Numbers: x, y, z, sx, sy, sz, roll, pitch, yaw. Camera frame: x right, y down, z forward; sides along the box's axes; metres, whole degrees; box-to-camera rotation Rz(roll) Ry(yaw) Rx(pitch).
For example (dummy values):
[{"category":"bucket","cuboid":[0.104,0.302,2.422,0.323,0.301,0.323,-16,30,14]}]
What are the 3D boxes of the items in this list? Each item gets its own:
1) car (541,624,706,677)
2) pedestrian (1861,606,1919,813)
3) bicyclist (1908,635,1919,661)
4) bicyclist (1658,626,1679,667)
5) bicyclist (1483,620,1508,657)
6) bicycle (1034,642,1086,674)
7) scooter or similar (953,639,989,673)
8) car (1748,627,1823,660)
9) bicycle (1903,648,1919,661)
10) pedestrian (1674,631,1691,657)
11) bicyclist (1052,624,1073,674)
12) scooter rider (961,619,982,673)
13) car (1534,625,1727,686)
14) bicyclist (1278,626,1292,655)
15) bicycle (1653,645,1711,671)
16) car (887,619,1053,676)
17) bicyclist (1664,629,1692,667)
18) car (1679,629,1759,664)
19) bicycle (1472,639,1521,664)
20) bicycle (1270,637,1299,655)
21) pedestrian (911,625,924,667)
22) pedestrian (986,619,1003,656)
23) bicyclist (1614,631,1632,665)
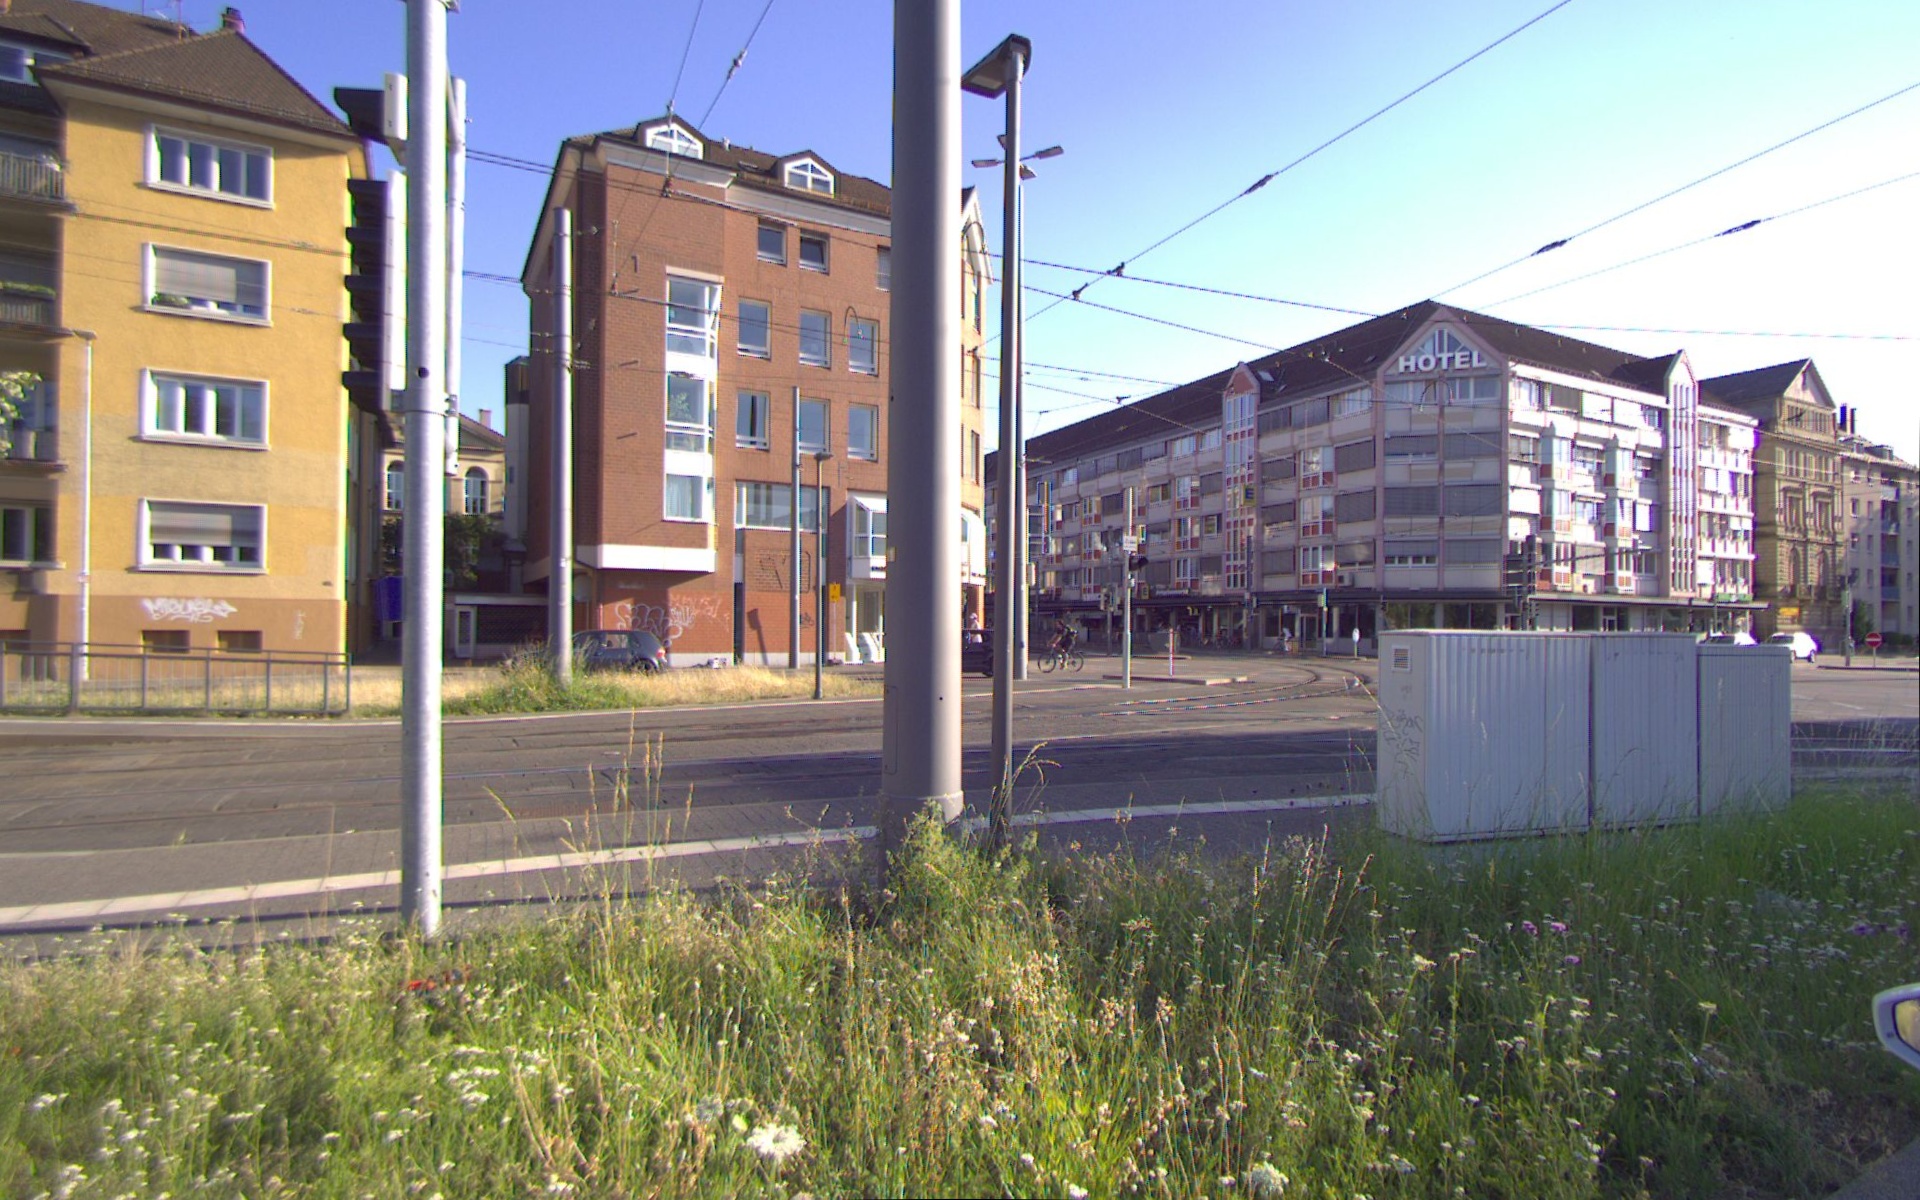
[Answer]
[{"category":"car","cuboid":[-8.877,1.312,26.513,3.946,1.305,1.836,1,-2,-25]},{"category":"pedestrian","cuboid":[7.852,0.862,7.976,0.647,1.618,0.874,1,-2,-30]},{"category":"bicyclist","cuboid":[70.669,3.523,74.336,0.634,1.886,0.590,1,-2,-28]},{"category":"bicyclist","cuboid":[36.358,2.381,51.529,0.764,2.040,0.604,0,-1,21]},{"category":"bicyclist","cuboid":[26.382,1.887,49.508,0.648,1.776,0.893,1,-2,-33]},{"category":"bicycle","cuboid":[3.504,2.029,35.184,1.748,1.086,0.535,1,-1,-6]},{"category":"scooter or similar","cuboid":[0.349,1.815,32.561,1.152,1.086,0.530,0,-1,-2]},{"category":"car","cuboid":[48.341,2.517,58.806,3.949,1.884,1.986,1,-2,-28]},{"category":"bicycle","cuboid":[70.529,4.002,74.256,1.813,0.927,0.596,1,-2,-28]},{"category":"pedestrian","cuboid":[45.340,2.753,63.003,0.695,1.626,0.623,1,-1,-28]},{"category":"bicyclist","cuboid":[3.585,1.702,35.203,0.653,1.734,0.538,0,-1,-4]},{"category":"scooter rider","cuboid":[0.383,1.482,32.567,0.653,1.734,0.526,0,-1,-2]},{"category":"car","cuboid":[19.076,1.552,28.834,4.262,1.617,1.999,0,-2,23]},{"category":"bicyclist","cuboid":[19.680,2.433,60.811,0.534,1.734,0.658,1,-2,-39]},{"category":"bicycle","cuboid":[34.374,2.745,47.875,0.652,1.152,2.161,1,-2,-33]},{"category":"car","cuboid":[0.243,1.414,29.876,4.692,1.617,1.997,1,-2,-9]},{"category":"bicyclist","cuboid":[34.296,2.298,47.997,0.643,1.776,0.893,1,-2,-33]},{"category":"car","cuboid":[41.384,2.517,54.780,3.949,1.884,1.986,1,-2,-28]},{"category":"bicycle","cuboid":[26.400,2.526,49.468,0.651,1.152,2.081,1,-2,-33]},{"category":"bicycle","cuboid":[19.651,2.771,60.836,0.535,1.073,1.718,2,-2,-39]},{"category":"pedestrian","cuboid":[-1.822,1.981,43.393,0.532,1.831,0.502,0,-1,-2]},{"category":"pedestrian","cuboid":[1.955,2.121,56.975,0.713,2.040,0.712,1,-1,-26]},{"category":"bicyclist","cuboid":[36.375,2.630,55.125,0.634,1.886,0.590,1,-2,-28]}]
